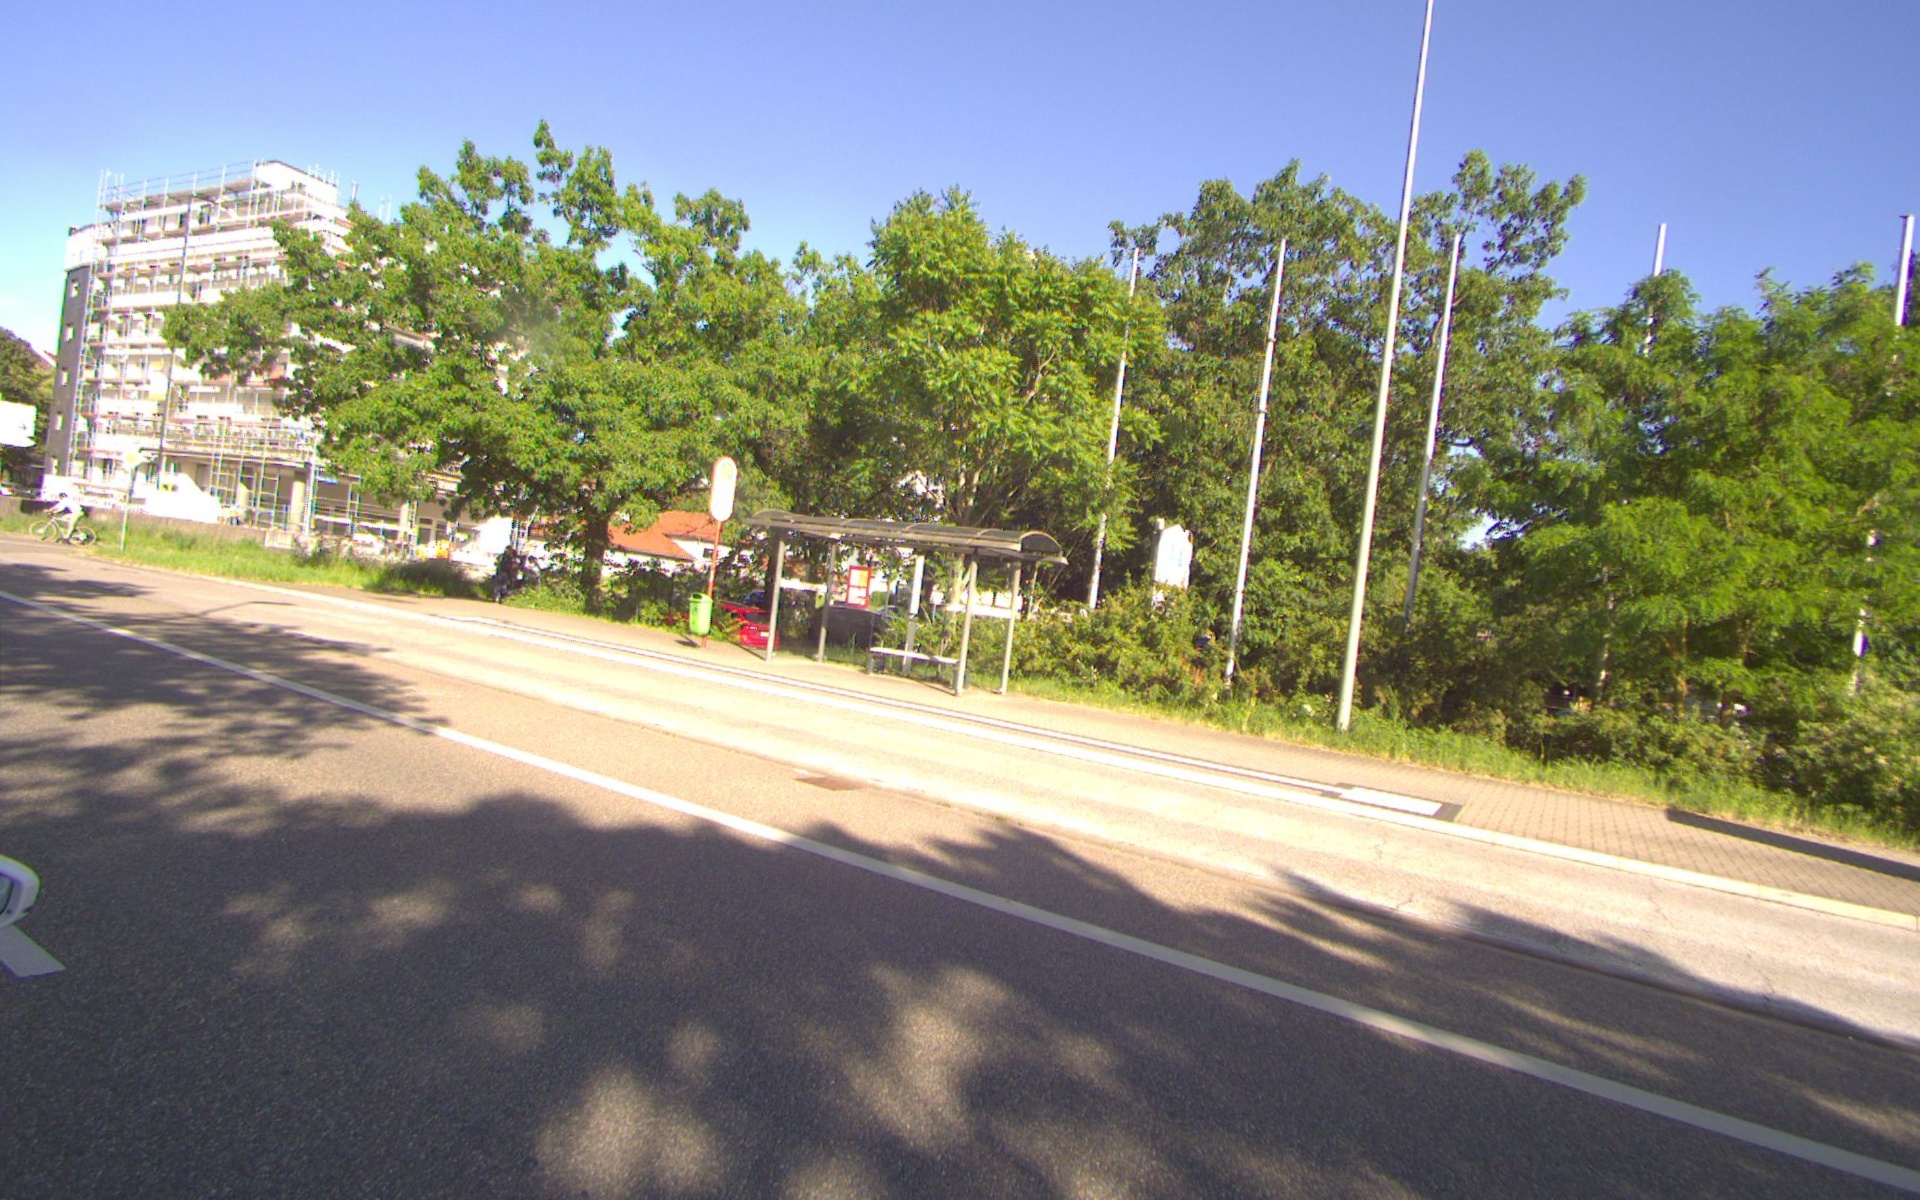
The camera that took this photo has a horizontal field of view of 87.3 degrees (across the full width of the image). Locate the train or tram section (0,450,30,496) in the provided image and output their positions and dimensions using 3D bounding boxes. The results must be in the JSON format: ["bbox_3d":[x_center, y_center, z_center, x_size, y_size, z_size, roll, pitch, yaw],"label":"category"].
[{"bbox_3d":[-85.191,-11.467,85.119,3.266,3.816,20.674,7,0,-26],"label":"train or tram section"}]

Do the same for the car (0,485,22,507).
[{"bbox_3d":[-66.546,-7.272,69.997,1.521,1.330,3.250,7,0,-40],"label":"car"}]

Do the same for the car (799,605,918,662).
[{"bbox_3d":[-3.588,1.195,35.978,3.674,1.504,1.914,7,0,13],"label":"car"}]

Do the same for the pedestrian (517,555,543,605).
[{"bbox_3d":[-13.401,-0.634,31.327,0.517,1.465,0.587,7,1,-32],"label":"pedestrian"}]

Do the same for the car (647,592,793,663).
[{"bbox_3d":[-6.873,0.793,28.745,3.680,1.504,1.755,7,0,28],"label":"car"}]

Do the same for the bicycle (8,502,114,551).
[{"bbox_3d":[-29.949,-2.434,33.574,2.502,1.212,0.703,9,-2,-39],"label":"bicycle"}]

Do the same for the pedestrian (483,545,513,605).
[{"bbox_3d":[-13.019,-0.705,28.346,0.517,1.632,0.587,7,1,-32],"label":"pedestrian"}]

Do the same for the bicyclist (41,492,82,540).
[{"bbox_3d":[-29.949,-2.784,33.544,0.839,1.454,0.736,8,-1,-38],"label":"bicyclist"}]

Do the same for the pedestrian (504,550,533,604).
[{"bbox_3d":[-12.693,-0.660,28.921,0.517,1.465,0.587,7,1,-32],"label":"pedestrian"}]
